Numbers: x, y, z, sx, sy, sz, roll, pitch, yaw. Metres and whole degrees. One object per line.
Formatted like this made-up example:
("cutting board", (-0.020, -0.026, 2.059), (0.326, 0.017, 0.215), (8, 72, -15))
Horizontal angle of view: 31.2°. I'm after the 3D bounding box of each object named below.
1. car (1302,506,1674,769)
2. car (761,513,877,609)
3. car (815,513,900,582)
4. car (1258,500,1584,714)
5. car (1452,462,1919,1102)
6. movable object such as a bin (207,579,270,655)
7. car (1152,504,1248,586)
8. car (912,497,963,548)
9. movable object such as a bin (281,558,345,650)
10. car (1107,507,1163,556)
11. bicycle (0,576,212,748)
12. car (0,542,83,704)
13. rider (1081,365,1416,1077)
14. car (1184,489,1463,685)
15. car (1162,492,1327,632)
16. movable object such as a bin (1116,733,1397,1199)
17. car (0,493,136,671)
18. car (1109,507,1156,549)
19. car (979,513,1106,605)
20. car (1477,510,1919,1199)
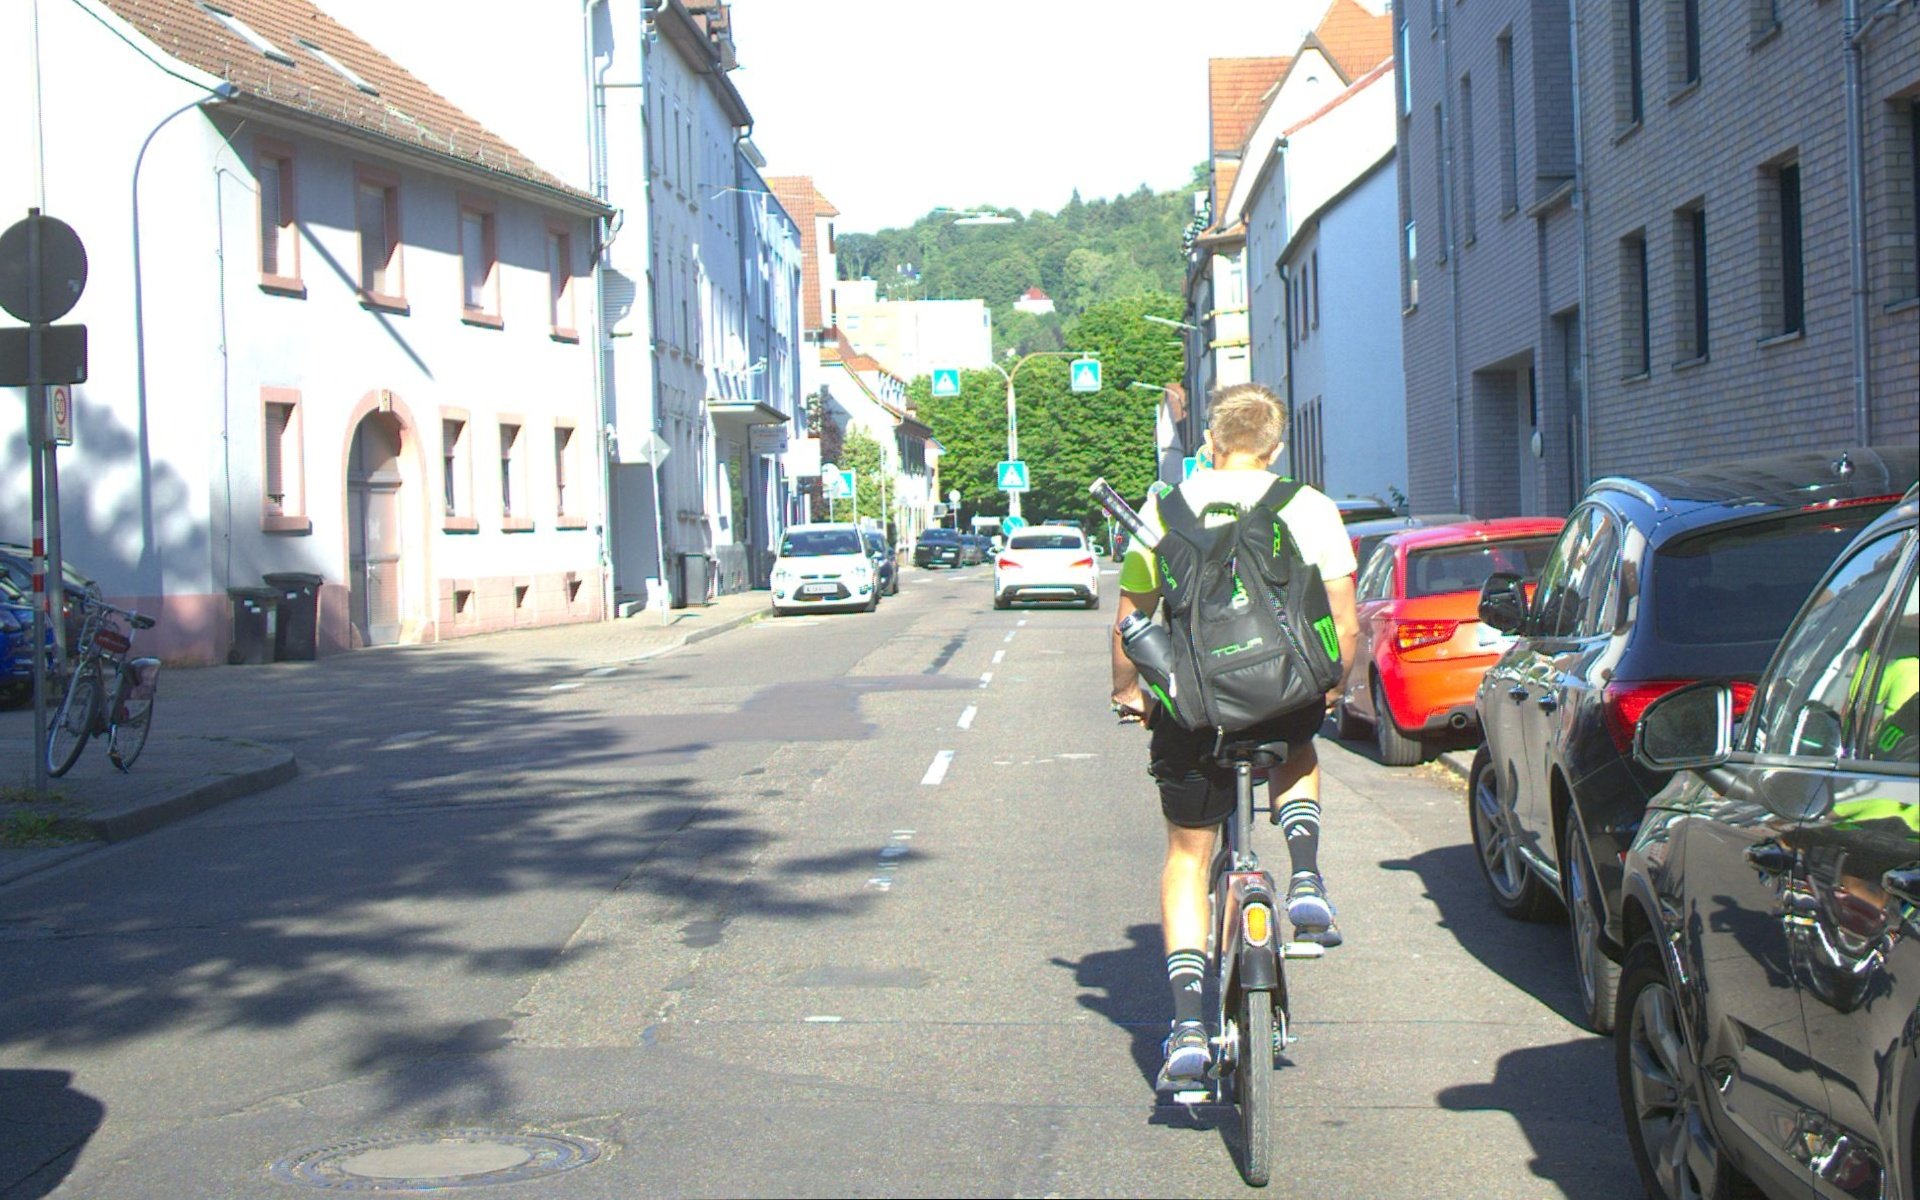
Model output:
("car", (3.295, 0.168, 22.168), (1.712, 1.399, 4.073), (-5, 1, 1))
("car", (-2.524, -0.745, 62.677), (1.993, 1.642, 5.222), (-1, 2, -1))
("car", (-2.339, -1.199, 79.218), (1.731, 1.494, 3.959), (-2, 1, 1))
("car", (3.541, -0.012, 27.161), (1.993, 1.500, 4.367), (-2, 2, 1))
("car", (2.749, 0.403, 11.596), (1.890, 1.706, 4.773), (-1, 2, 5))
("movable object such as a bin", (-8.515, 0.193, 40.592), (0.598, 0.869, 0.606), (-1, 1, 0))
("car", (4.753, -1.118, 68.539), (1.741, 1.487, 4.439), (-3, 1, 3))
("car", (-0.899, -3.142, 139.115), (1.993, 2.007, 4.000), (-1, 1, 0))
("movable object such as a bin", (-7.807, 0.040, 41.513), (0.598, 1.090, 0.751), (0, 1, 2))
("car", (6.770, -2.677, 133.261), (2.011, 1.846, 4.000), (0, 2, 1))
("bicycle", (-5.337, 0.364, 21.586), (0.704, 0.999, 1.941), (0, 1, 5))
("car", (-10.928, 0.275, 34.242), (3.768, 1.524, 2.000), (-2, 2, 2))
("rider", (0.658, 0.267, 8.142), (0.653, 1.556, 1.083), (1, 0, 0))
("car", (3.318, -0.190, 32.275), (1.993, 1.647, 4.763), (-1, 2, -1))
("car", (3.681, -0.547, 45.179), (1.855, 1.630, 4.623), (-4, 2, 2))
("movable object such as a bin", (0.655, 0.868, 8.026), (0.454, 1.029, 1.840), (1, 0, 0))
("car", (-11.569, -0.277, 38.022), (4.363, 1.788, 1.988), (2, 4, 3))
("car", (7.269, -3.049, 144.610), (1.818, 1.625, 4.000), (-3, 2, 4))
("car", (1.374, -0.722, 58.902), (1.993, 1.461, 4.000), (-2, 1, 0))
("car", (2.111, 0.573, 5.622), (1.816, 1.461, 4.270), (-2, 1, 0))
